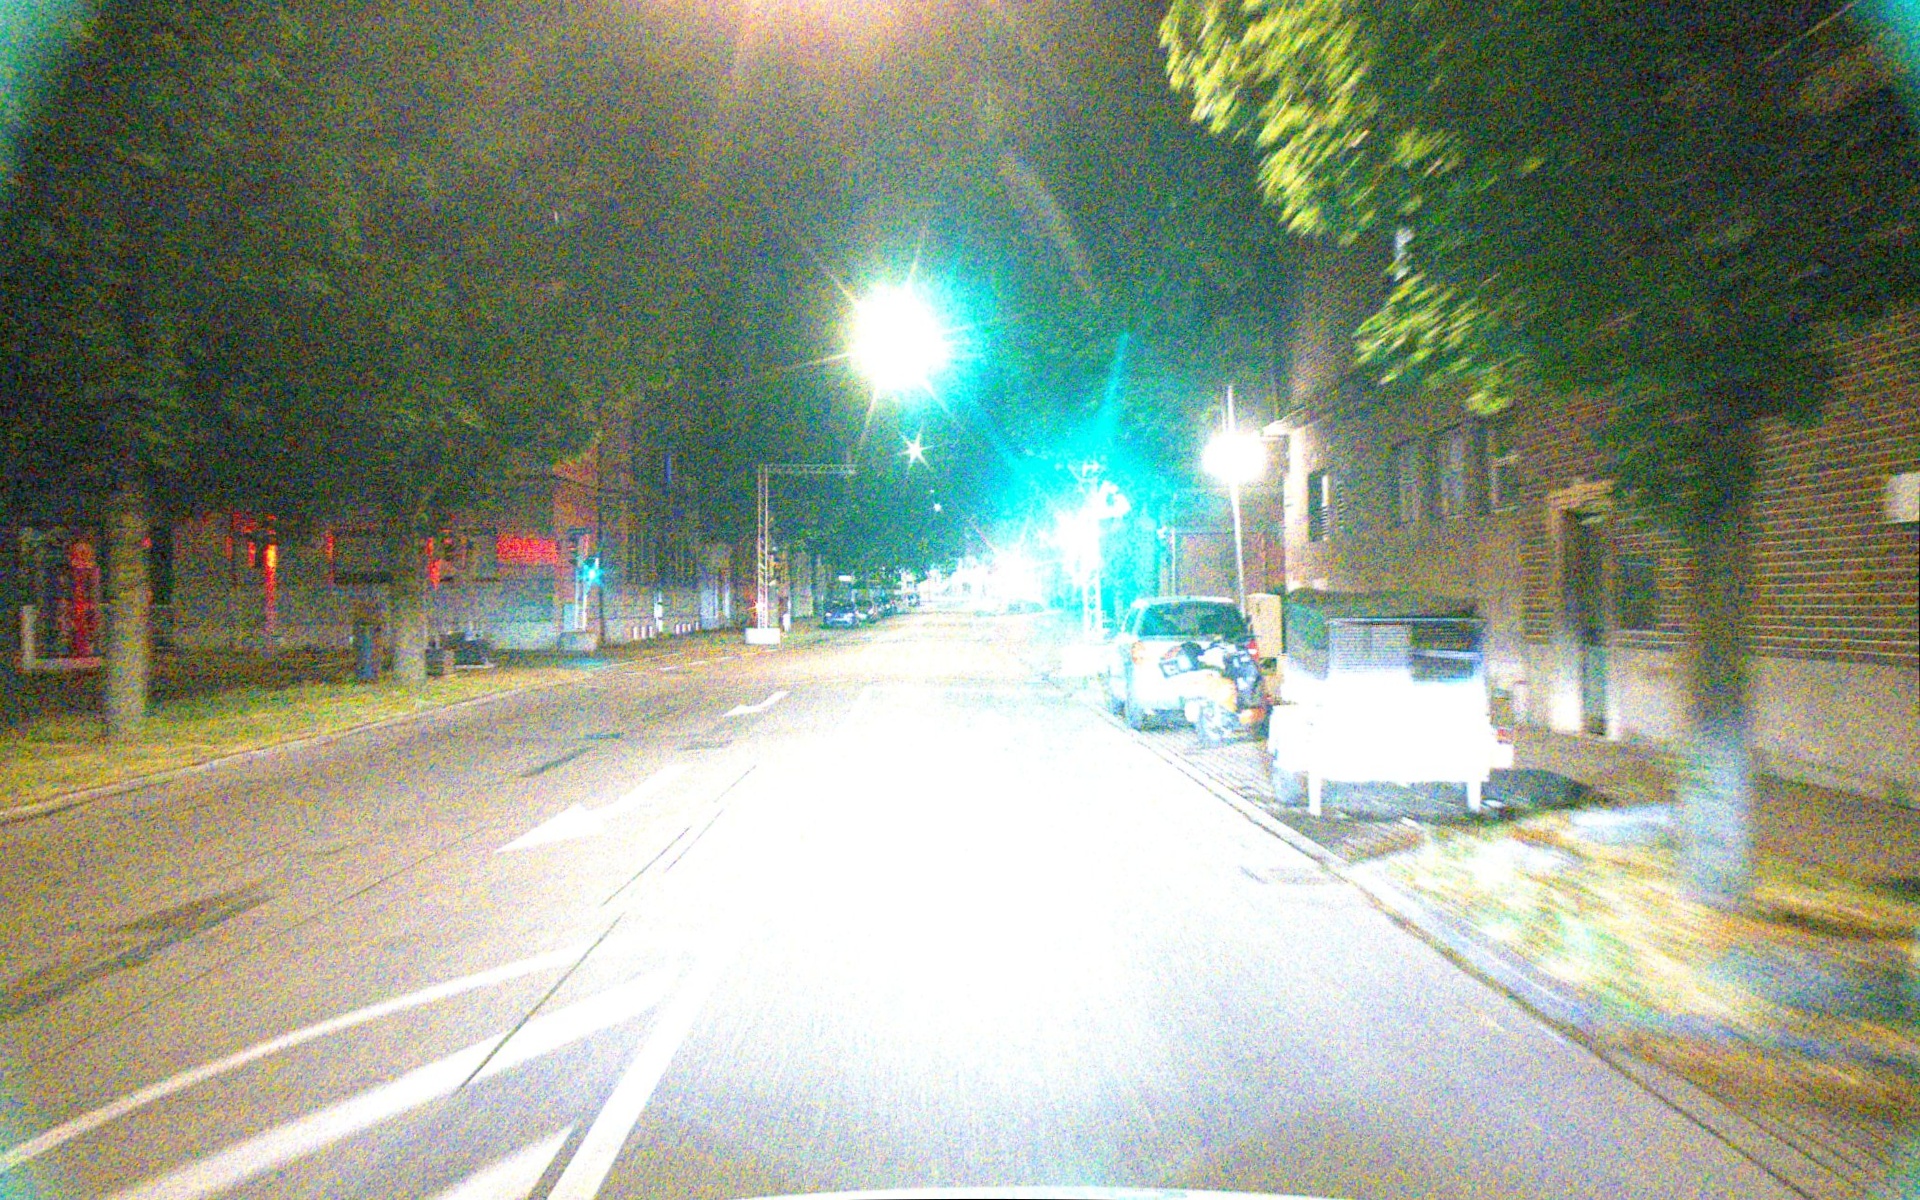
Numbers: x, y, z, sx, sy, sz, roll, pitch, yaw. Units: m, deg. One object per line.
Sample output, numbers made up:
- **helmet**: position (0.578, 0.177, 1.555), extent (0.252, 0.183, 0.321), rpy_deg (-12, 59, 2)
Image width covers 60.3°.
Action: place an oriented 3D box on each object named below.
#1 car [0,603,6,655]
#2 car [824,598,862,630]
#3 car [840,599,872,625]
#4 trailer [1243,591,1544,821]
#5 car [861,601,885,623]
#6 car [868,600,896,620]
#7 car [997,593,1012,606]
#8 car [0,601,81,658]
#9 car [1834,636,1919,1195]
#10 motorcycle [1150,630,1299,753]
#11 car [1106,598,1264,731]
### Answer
- **car**: position (-31.401, 0.932, 50.542), extent (1.952, 1.668, 4.186), rpy_deg (-1, 0, 2)
- **car**: position (-5.939, 0.713, 84.213), extent (1.679, 1.520, 3.989), rpy_deg (0, -2, 0)
- **car**: position (-6.280, 0.724, 100.295), extent (1.732, 1.512, 4.766), rpy_deg (-1, 0, -2)
- **trailer**: position (3.199, 0.701, 12.879), extent (1.567, 1.521, 3.735), rpy_deg (0, 0, 3)
- **car**: position (-5.959, 0.809, 113.857), extent (1.590, 1.407, 4.449), rpy_deg (-1, 0, -3)
- **car**: position (-5.994, 0.752, 127.019), extent (1.860, 1.497, 4.452), rpy_deg (1, 0, 0)
- **car**: position (4.972, -0.039, 185.222), extent (1.617, 1.456, 4.001), rpy_deg (-2, 0, 2)
- **car**: position (-28.807, 0.895, 50.252), extent (1.952, 1.668, 4.001), rpy_deg (-1, 0, 2)
- **car**: position (3.242, 0.771, 2.250), extent (1.739, 1.382, 4.422), rpy_deg (-2, 0, 0)
- **motorcycle**: position (2.785, 0.909, 17.214), extent (0.713, 1.150, 2.222), rpy_deg (0, 0, 32)
- **car**: position (2.706, 0.725, 20.537), extent (1.554, 1.486, 3.798), rpy_deg (0, 0, 2)
